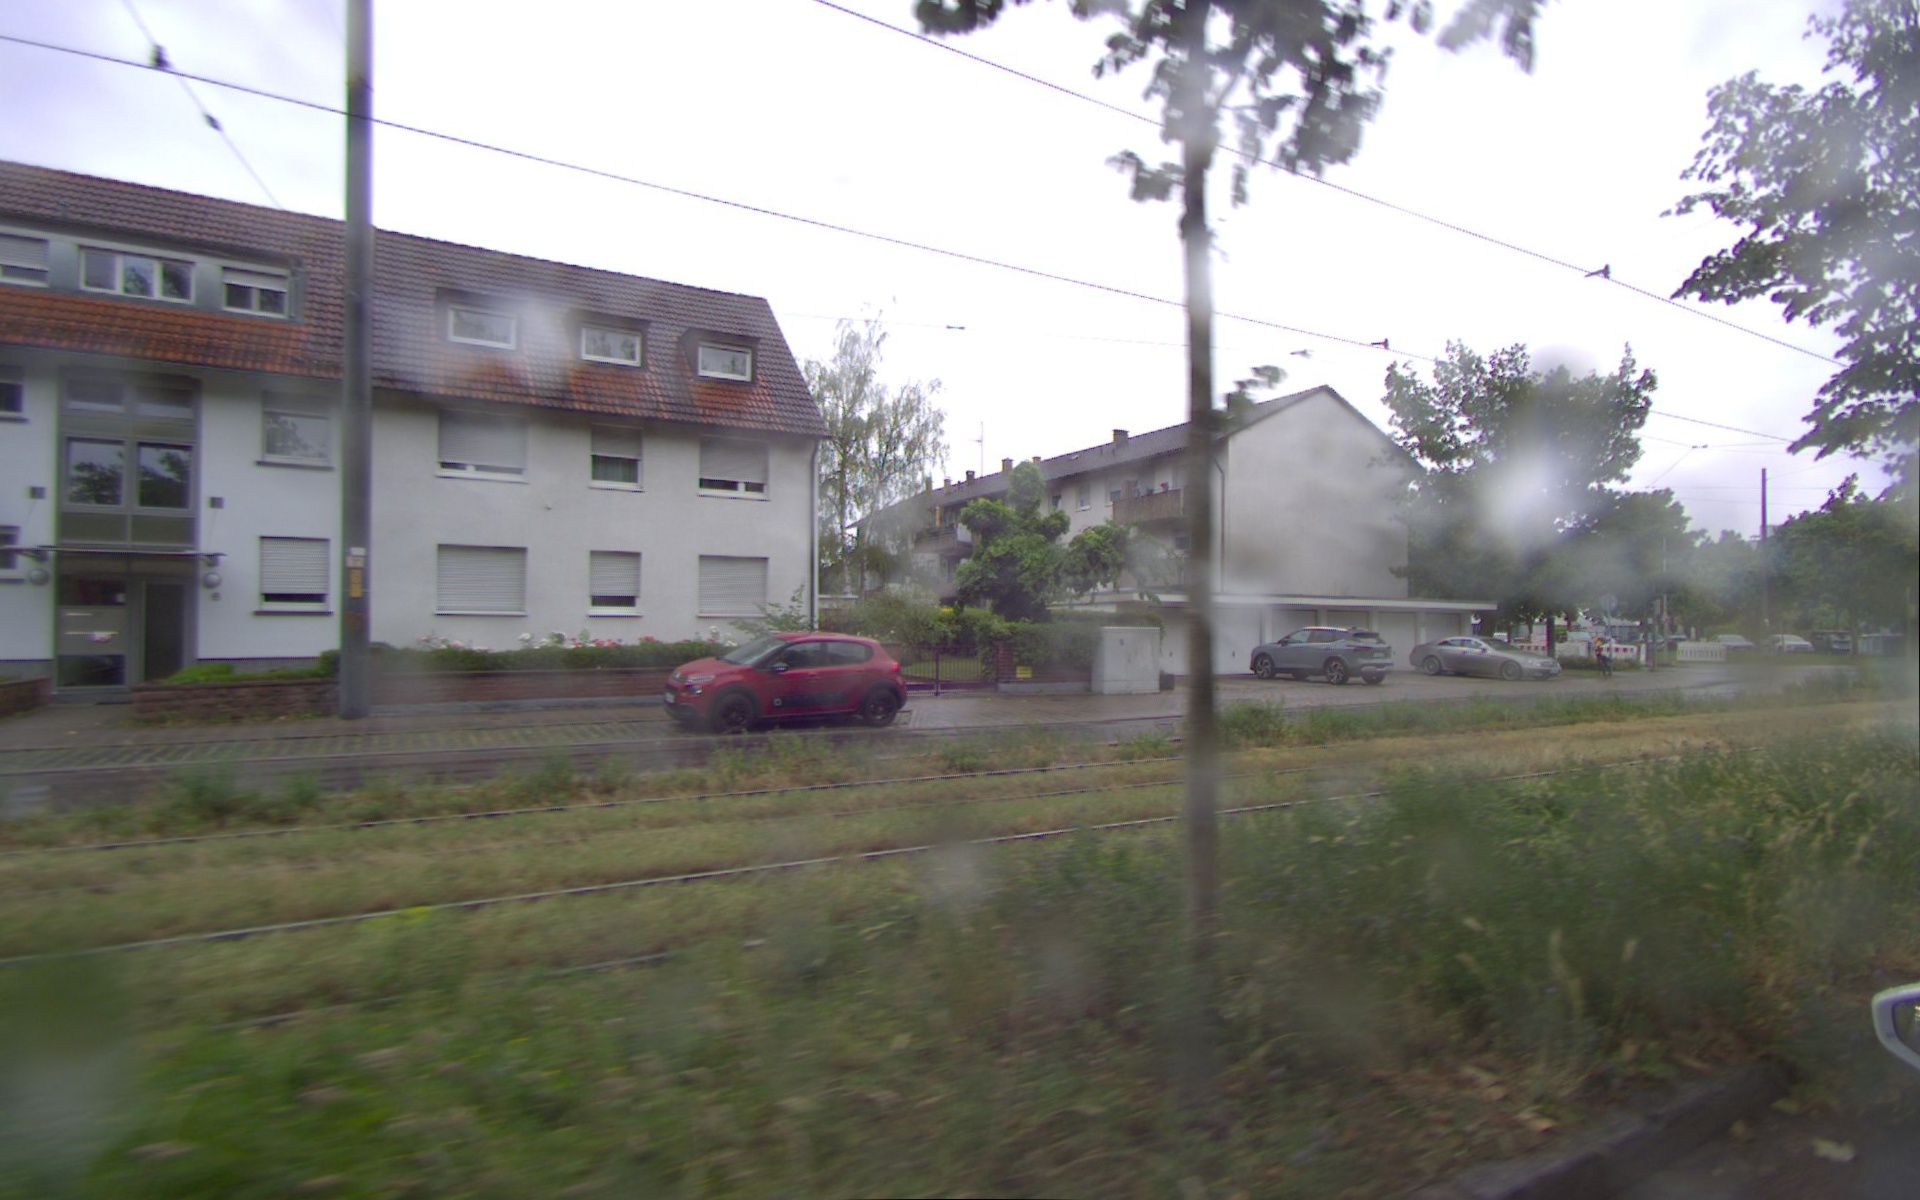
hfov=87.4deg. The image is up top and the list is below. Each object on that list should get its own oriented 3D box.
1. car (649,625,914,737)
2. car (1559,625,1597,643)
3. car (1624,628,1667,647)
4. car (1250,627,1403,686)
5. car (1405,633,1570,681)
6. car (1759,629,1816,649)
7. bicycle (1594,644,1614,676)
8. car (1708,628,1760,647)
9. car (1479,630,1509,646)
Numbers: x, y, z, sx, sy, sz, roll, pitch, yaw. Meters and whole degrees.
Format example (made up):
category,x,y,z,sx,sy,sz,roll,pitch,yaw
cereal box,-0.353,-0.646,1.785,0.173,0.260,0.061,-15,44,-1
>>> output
category,x,y,z,sx,sy,sz,roll,pitch,yaw
car,-2.934,1.249,16.638,3.925,1.568,1.833,1,1,-30
car,43.599,2.420,70.908,1.633,1.265,3.742,-1,-2,21
car,47.823,2.619,70.156,1.633,1.265,3.742,-1,-2,21
car,10.741,1.613,29.691,1.871,1.597,3.968,1,-2,-31
car,17.633,1.862,33.821,1.826,1.383,4.705,1,-1,-29
car,54.912,2.588,66.728,1.632,1.265,3.743,0,-2,19
bicycle,23.099,2.144,36.018,0.474,1.033,1.835,3,1,35
car,51.841,2.504,67.357,1.632,1.265,3.743,0,-2,19
car,44.149,3.134,83.128,1.632,1.342,3.743,0,-2,19
